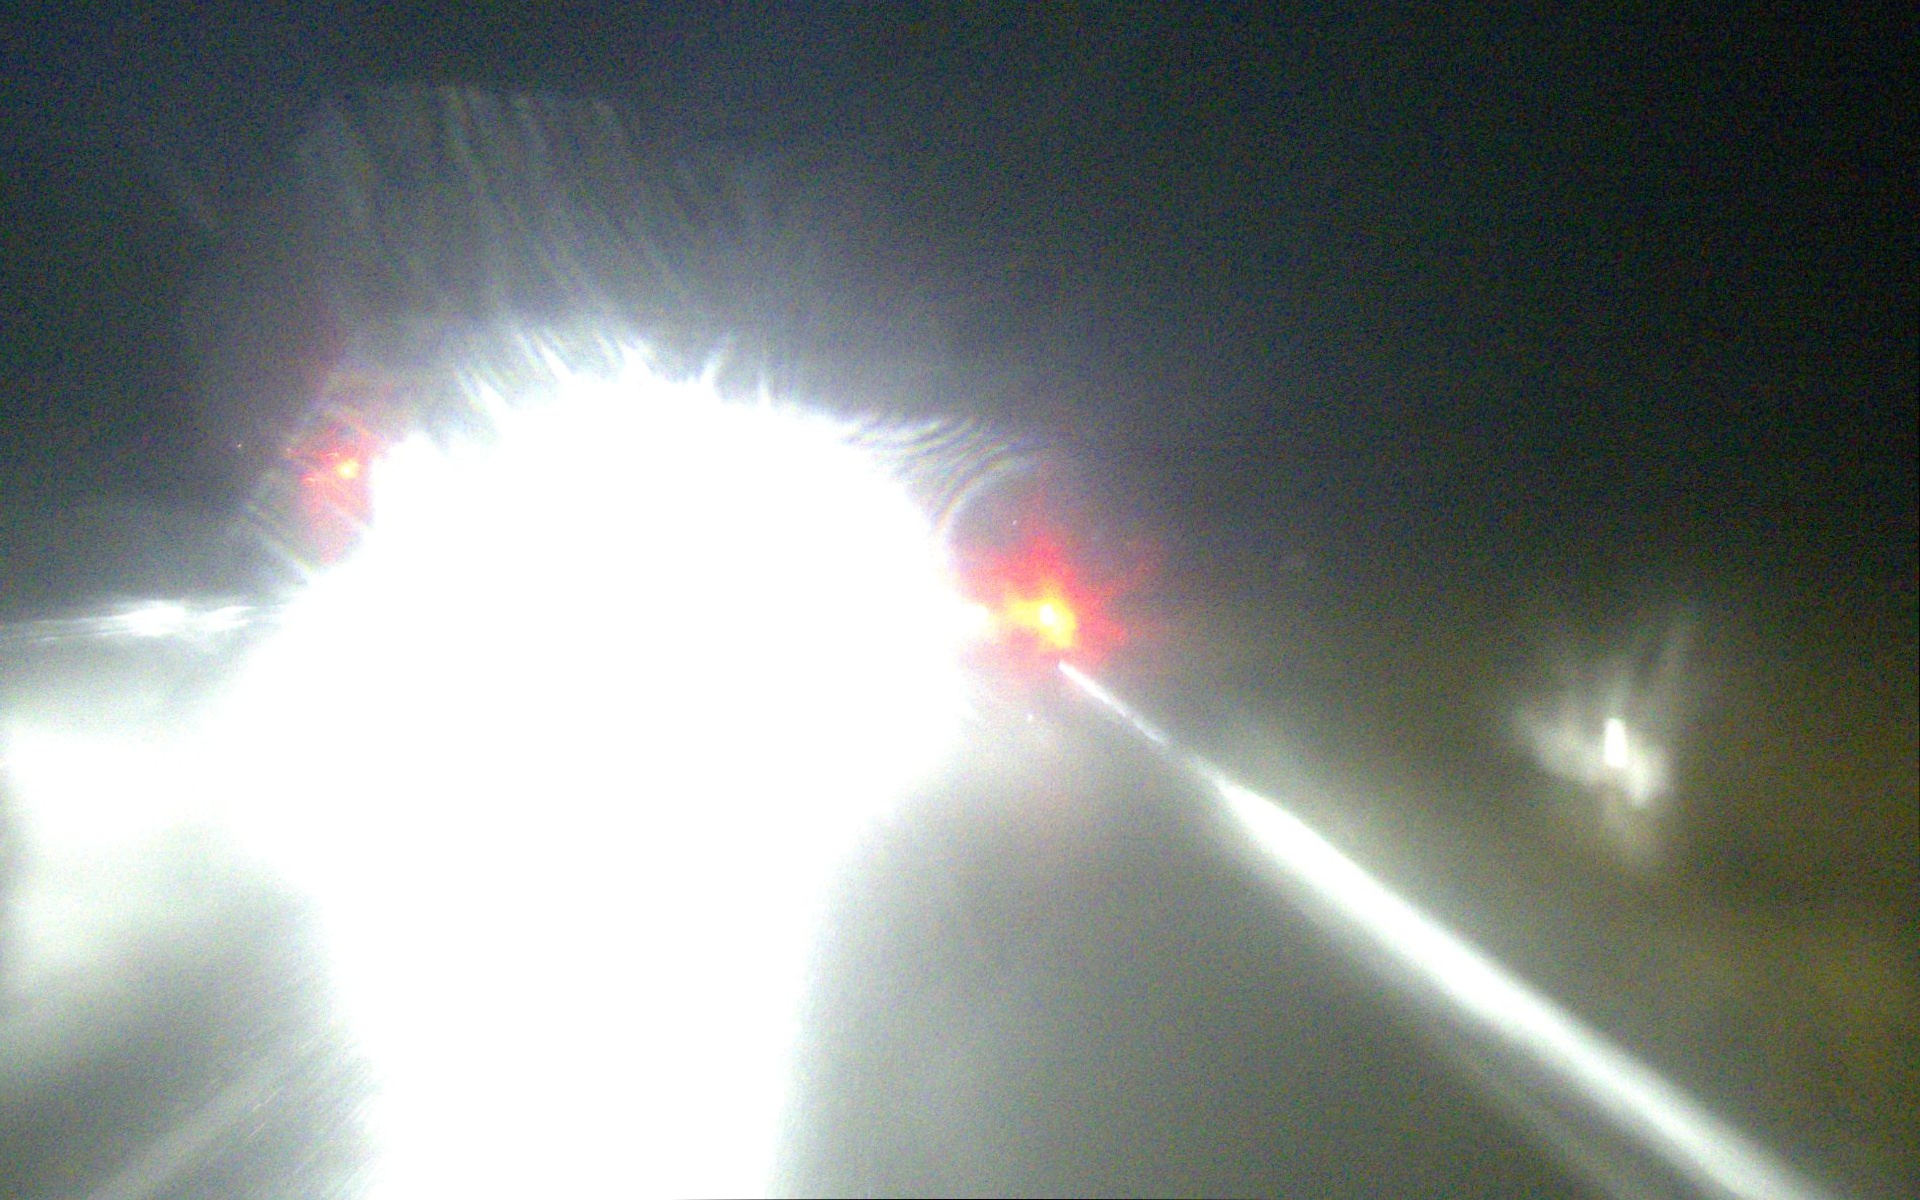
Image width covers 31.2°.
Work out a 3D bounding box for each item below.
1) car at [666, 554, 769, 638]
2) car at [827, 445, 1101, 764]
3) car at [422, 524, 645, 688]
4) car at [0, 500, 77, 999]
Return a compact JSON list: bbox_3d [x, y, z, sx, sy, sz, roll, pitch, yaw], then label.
[{"bbox_3d":[-4.950,-0.114,70.564,1.859,1.632,4.143,-1,1,-1],"label":"car"},{"bbox_3d":[-0.003,-0.061,30.266,2.181,2.548,4.508,1,3,-1],"label":"car"},{"bbox_3d":[-4.098,0.024,33.492,1.785,1.505,3.600,0,1,-1],"label":"car"},{"bbox_3d":[-3.878,0.489,9.181,1.974,1.511,4.347,-1,1,-1],"label":"car"}]
